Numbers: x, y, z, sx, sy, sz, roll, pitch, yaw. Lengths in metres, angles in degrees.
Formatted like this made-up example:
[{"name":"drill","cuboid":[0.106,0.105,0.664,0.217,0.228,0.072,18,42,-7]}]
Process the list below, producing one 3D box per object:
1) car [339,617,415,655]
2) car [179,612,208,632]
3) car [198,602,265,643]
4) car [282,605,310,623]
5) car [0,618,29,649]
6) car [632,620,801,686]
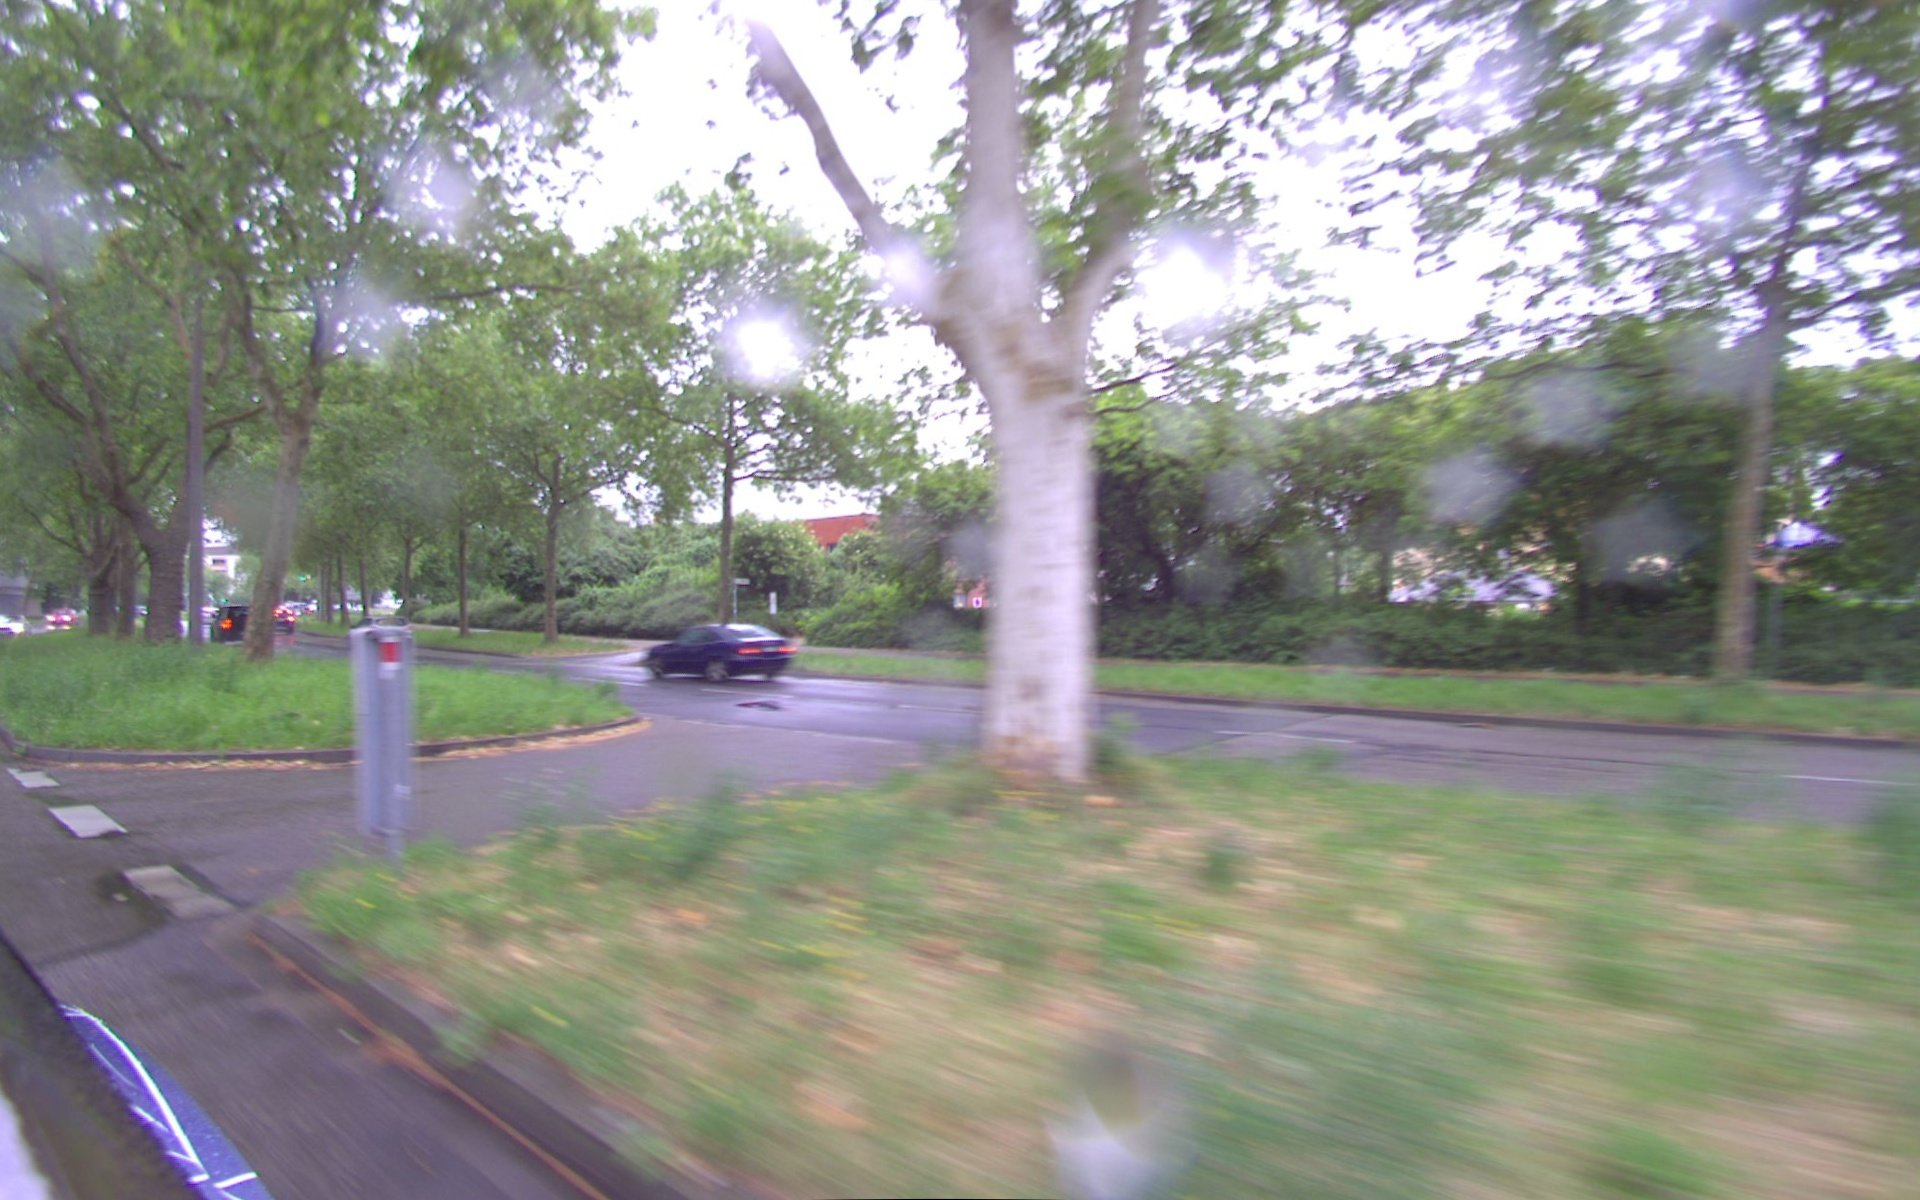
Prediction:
[{"name":"car","cuboid":[-24.601,1.464,42.628,4.237,1.487,1.723,-1,-1,45]},{"name":"car","cuboid":[-65.073,1.833,85.886,1.722,1.603,4.336,0,0,-41]},{"name":"car","cuboid":[-34.575,1.021,48.007,5.122,1.856,1.724,-1,-1,44]},{"name":"car","cuboid":[-84.397,1.790,128.727,2.001,2.243,5.452,0,0,-23]},{"name":"car","cuboid":[-54.987,1.906,57.994,1.968,1.642,4.532,-1,0,-37]},{"name":"car","cuboid":[-5.988,1.270,24.582,4.442,1.450,1.725,-3,-2,41]}]
